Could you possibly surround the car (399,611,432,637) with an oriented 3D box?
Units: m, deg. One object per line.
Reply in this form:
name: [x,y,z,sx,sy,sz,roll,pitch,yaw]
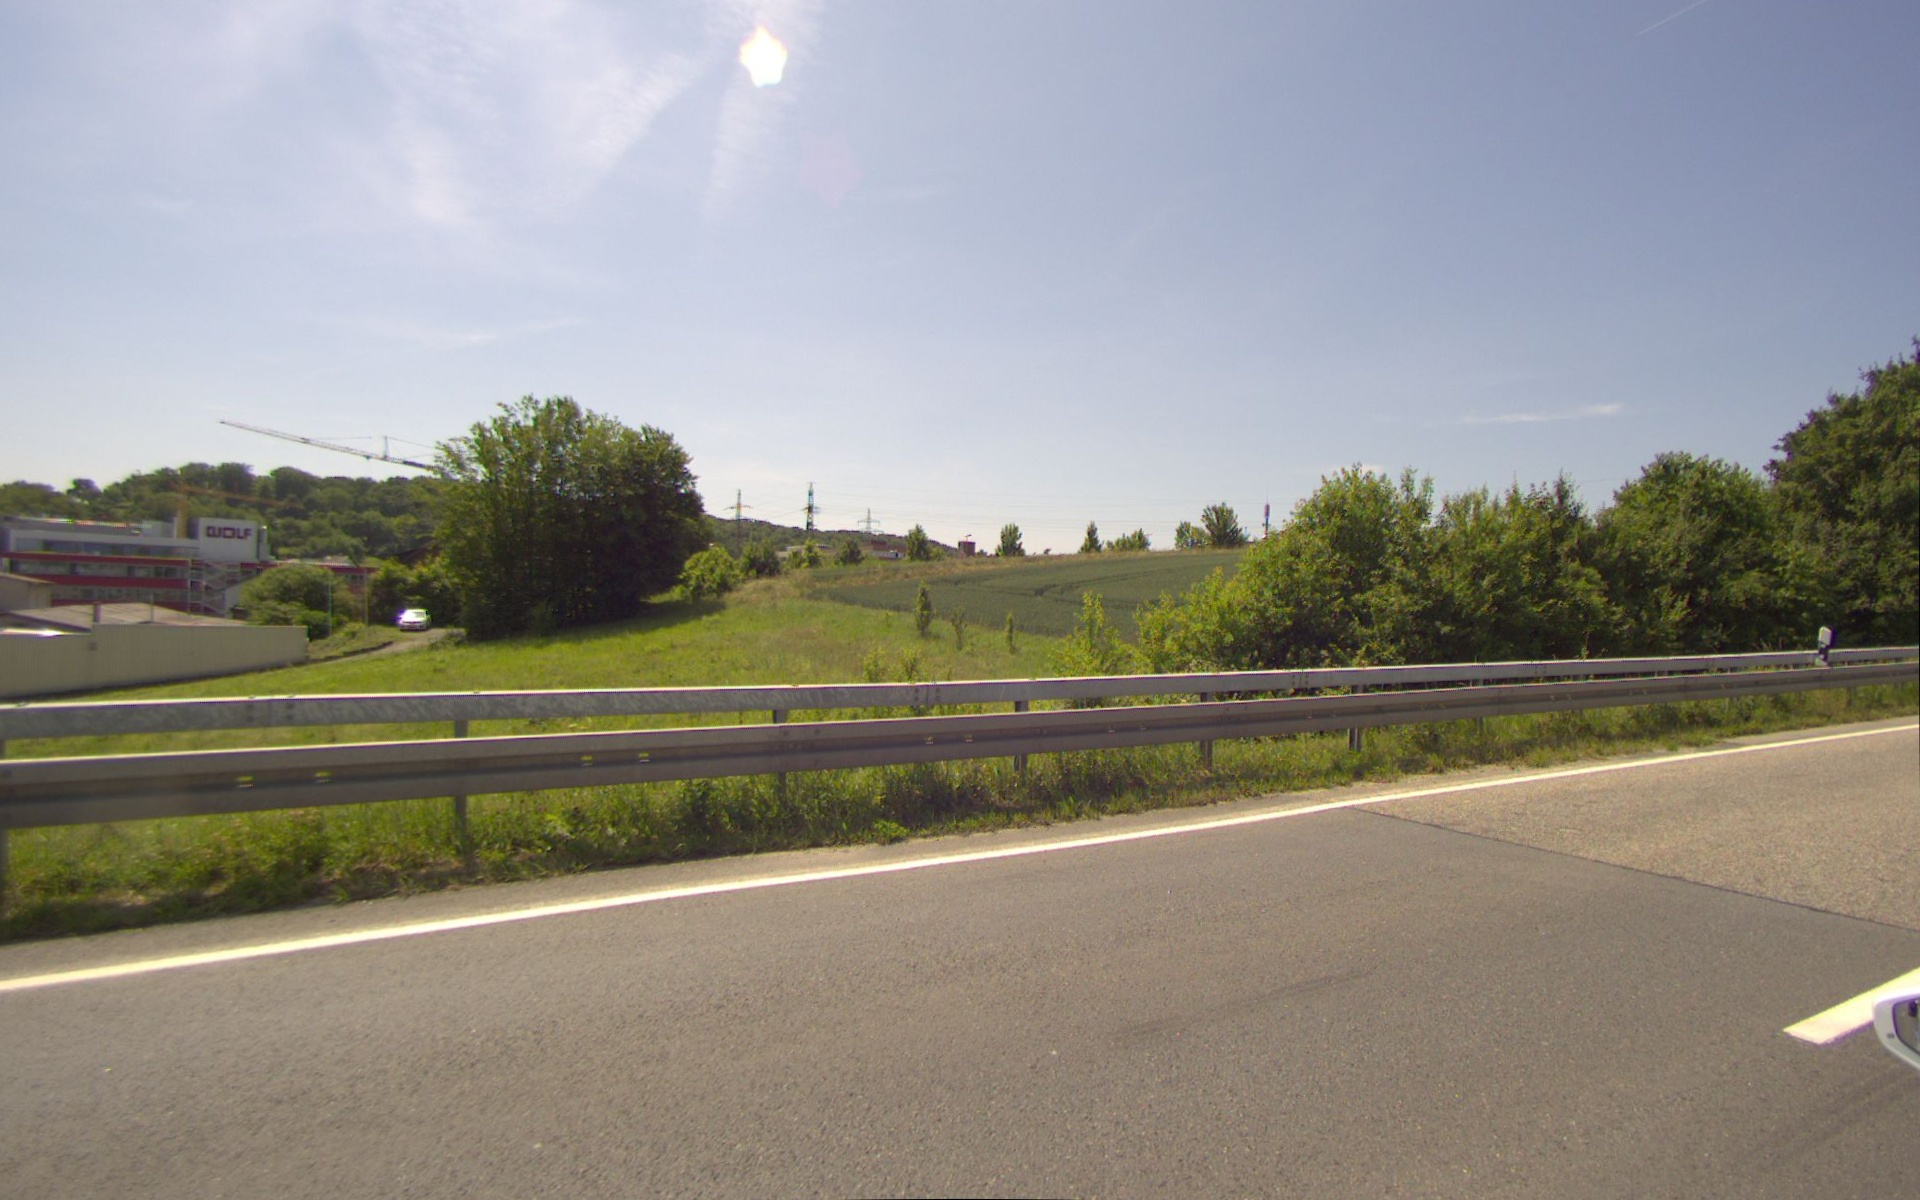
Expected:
car: [-40.712,1.763,75.176,1.807,1.625,3.975,-3,3,-25]
